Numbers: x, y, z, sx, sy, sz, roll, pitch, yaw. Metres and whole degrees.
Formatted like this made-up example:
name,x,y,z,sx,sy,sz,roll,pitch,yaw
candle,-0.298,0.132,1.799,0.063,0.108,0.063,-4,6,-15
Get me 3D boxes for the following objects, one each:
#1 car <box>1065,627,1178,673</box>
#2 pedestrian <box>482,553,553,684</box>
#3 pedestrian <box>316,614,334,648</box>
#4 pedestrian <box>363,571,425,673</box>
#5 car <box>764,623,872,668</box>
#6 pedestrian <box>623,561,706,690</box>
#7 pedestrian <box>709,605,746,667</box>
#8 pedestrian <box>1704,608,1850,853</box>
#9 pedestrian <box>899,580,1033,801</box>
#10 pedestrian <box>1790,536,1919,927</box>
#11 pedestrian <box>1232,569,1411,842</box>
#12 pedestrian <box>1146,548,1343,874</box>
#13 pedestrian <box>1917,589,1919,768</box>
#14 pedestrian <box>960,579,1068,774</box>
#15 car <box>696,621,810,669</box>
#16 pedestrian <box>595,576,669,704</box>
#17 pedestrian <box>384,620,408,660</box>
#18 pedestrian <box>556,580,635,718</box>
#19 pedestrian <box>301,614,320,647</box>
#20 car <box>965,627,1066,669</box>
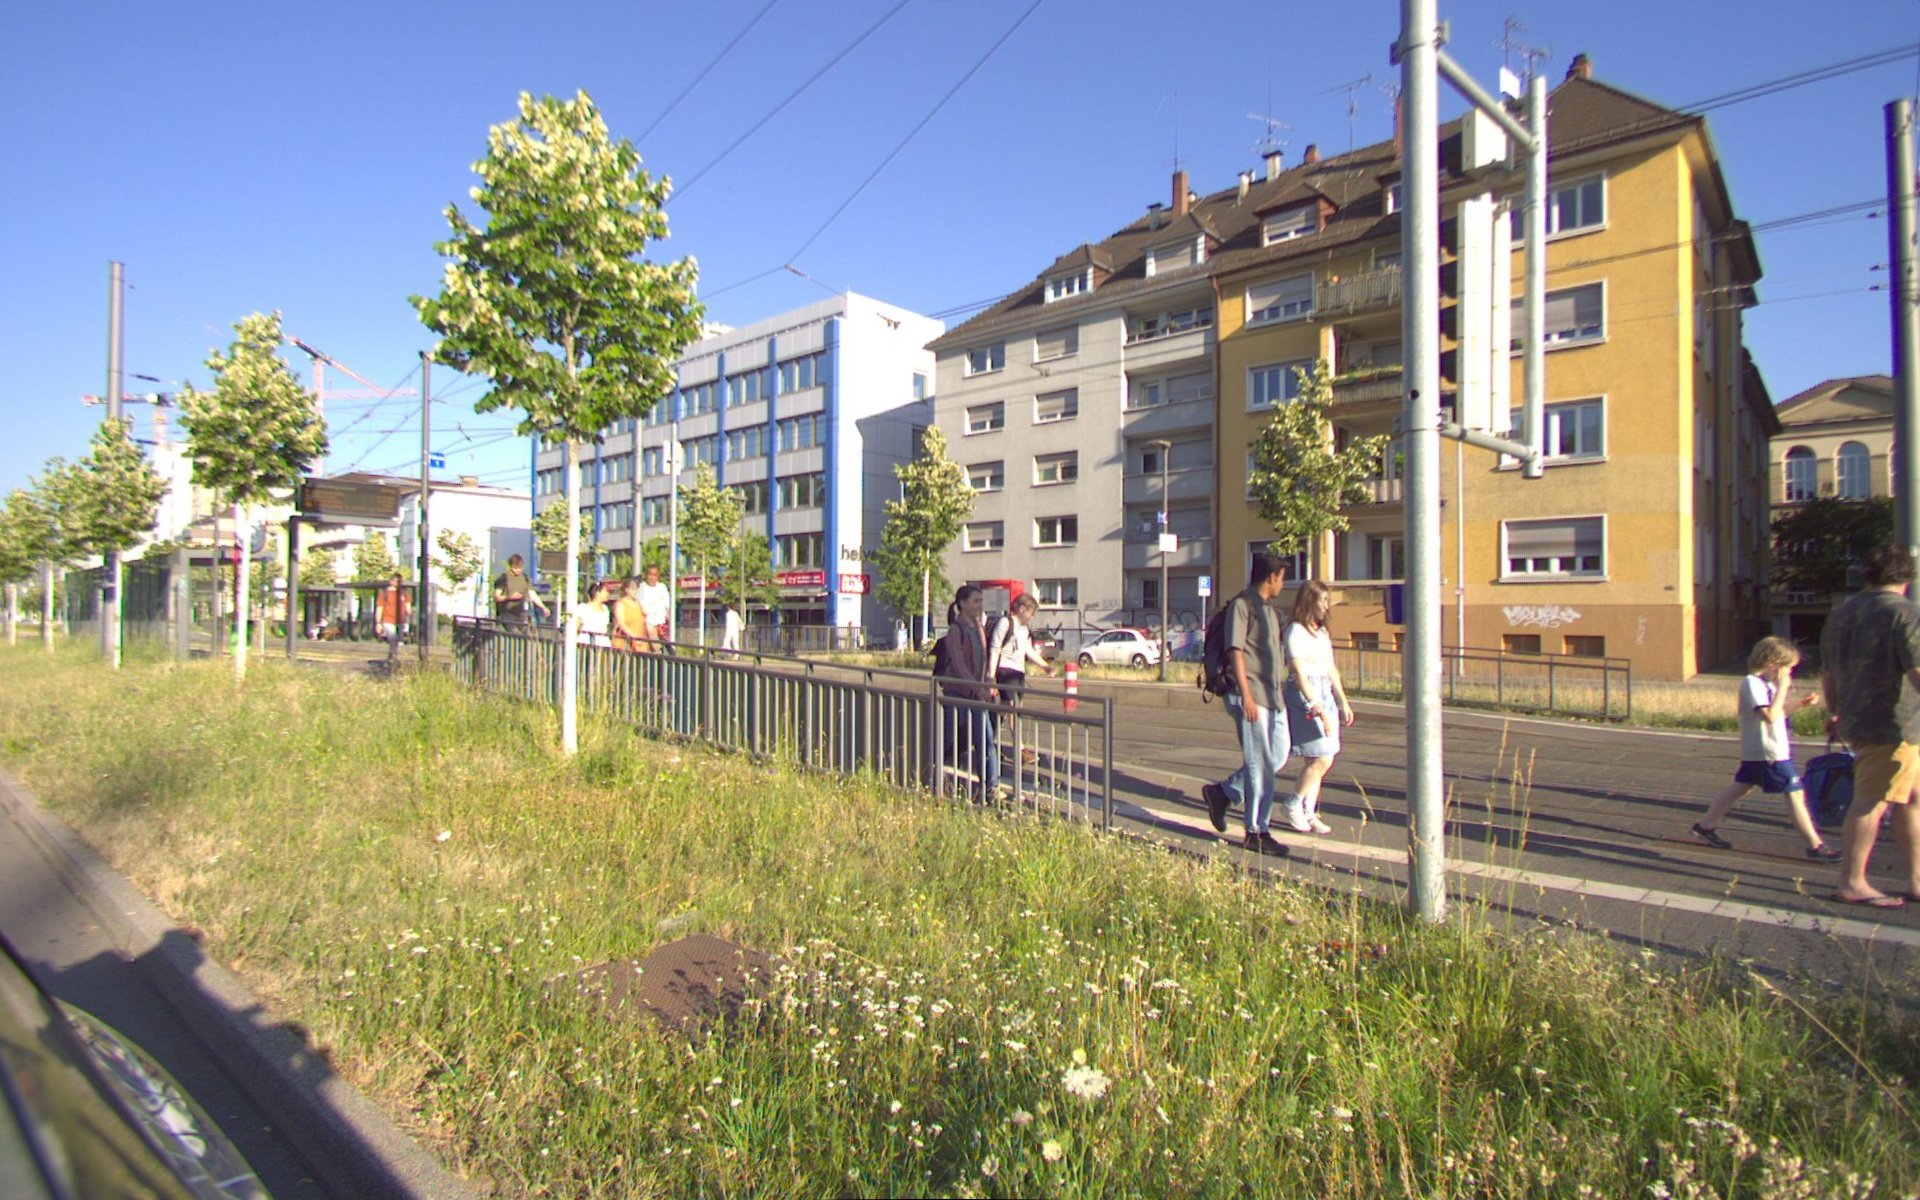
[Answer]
name,x,y,z,sx,sy,sz,roll,pitch,yaw
car,5.937,1.812,37.359,3.672,1.519,1.861,-1,0,41
pedestrian,-6.560,0.270,15.006,0.620,1.878,0.776,-1,0,44
pedestrian,-31.902,1.557,50.836,0.650,1.705,0.773,-1,0,-43
pedestrian,-9.751,0.371,17.427,0.620,1.711,0.776,-1,0,44
car,-5.316,1.629,37.595,3.941,1.519,1.861,-1,0,41
pedestrian,-3.706,0.308,12.705,0.620,1.560,0.776,-1,0,44
pedestrian,-6.425,0.981,27.968,0.620,1.685,0.776,-1,0,44
pedestrian,4.925,0.755,6.106,0.608,1.371,0.587,-2,-6,45
pedestrian,0.046,0.630,7.571,0.776,1.547,0.620,-1,0,-45
pedestrian,4.631,0.593,4.824,0.764,1.771,0.901,-1,0,-40
pedestrian,2.400,0.642,6.717,0.899,1.653,0.778,-1,0,39
pedestrian,1.740,0.606,6.201,0.900,1.814,0.777,1,1,42
pedestrian,6.549,0.724,6.283,0.787,1.600,0.601,-1,0,36
pedestrian,0.494,0.647,9.087,0.619,1.653,0.778,-1,0,39
car,-7.216,1.520,35.132,3.941,1.519,1.861,-1,0,41
pedestrian,-3.821,0.449,11.804,0.524,1.442,0.630,-1,0,38
pedestrian,-24.573,1.738,44.098,0.771,1.705,0.651,-1,0,39
pedestrian,-4.019,0.524,11.170,0.524,1.467,0.630,-1,0,37
pedestrian,-33.612,1.579,52.381,0.772,1.705,0.651,-1,0,44
car,2.200,1.861,40.468,3.672,1.519,1.861,-1,0,41
